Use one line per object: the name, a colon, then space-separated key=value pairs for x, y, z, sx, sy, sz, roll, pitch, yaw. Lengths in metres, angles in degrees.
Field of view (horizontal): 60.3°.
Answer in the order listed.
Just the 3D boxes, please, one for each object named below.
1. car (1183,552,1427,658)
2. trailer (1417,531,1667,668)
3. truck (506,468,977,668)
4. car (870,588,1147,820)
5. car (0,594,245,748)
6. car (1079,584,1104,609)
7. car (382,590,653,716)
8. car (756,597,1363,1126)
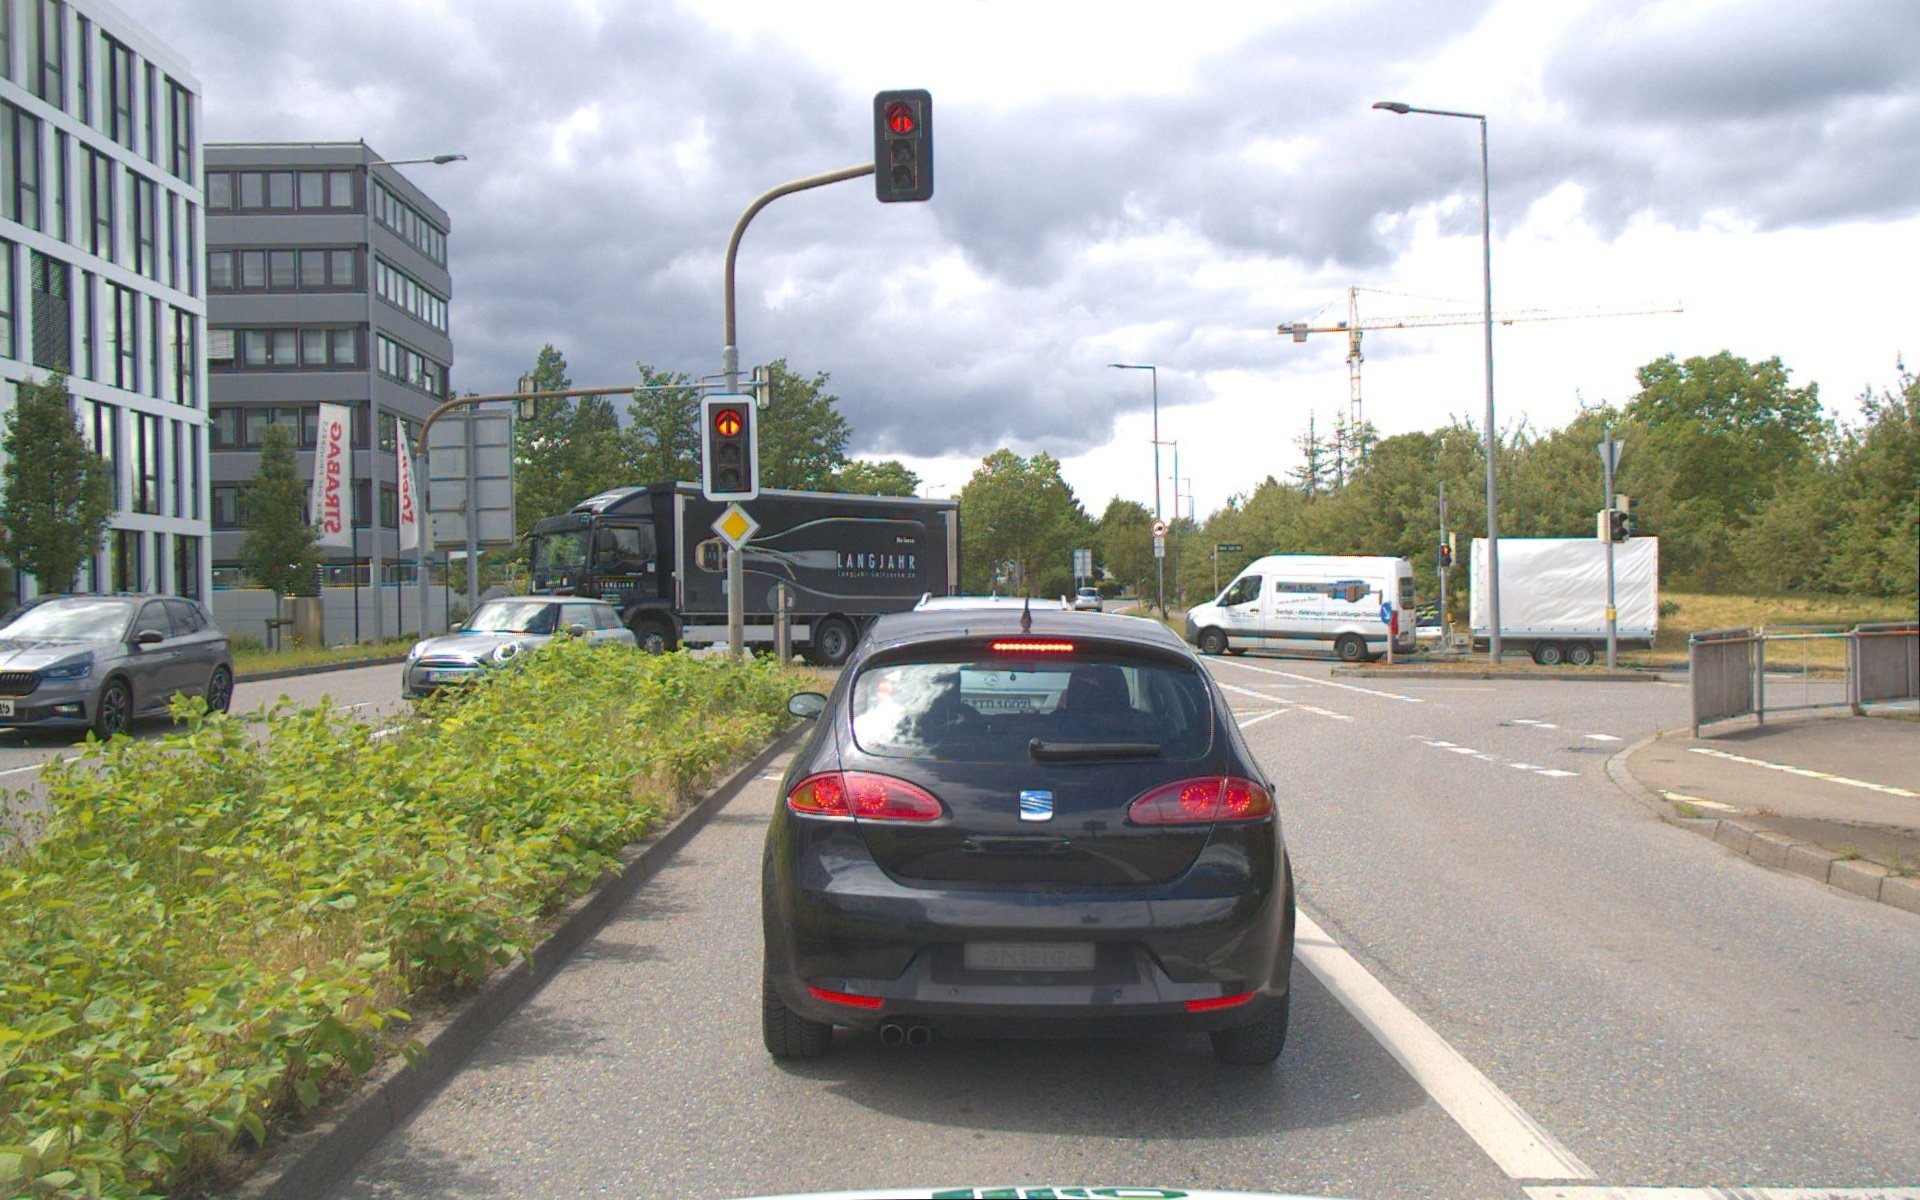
car: x=8.763 y=0.099 z=42.118 sx=5.704 sy=2.562 sz=2.130 roll=1 pitch=0 yaw=28
trailer: x=13.912 y=-0.037 z=39.946 sx=5.450 sy=3.127 sz=2.501 roll=1 pitch=0 yaw=15
truck: x=-4.212 y=-0.554 z=33.961 sx=9.443 sy=3.579 sz=3.130 roll=1 pitch=1 yaw=-42
car: x=0.331 y=0.691 z=12.733 sx=1.797 sy=1.493 sz=3.751 roll=1 pitch=0 yaw=0
car: x=-9.038 y=0.659 z=17.362 sx=1.522 sy=1.407 sz=3.778 roll=0 pitch=1 yaw=-2
car: x=8.893 y=-0.223 z=112.090 sx=1.632 sy=1.624 sz=4.002 roll=1 pitch=0 yaw=5
car: x=-5.531 y=0.611 z=21.135 sx=1.653 sy=1.455 sz=3.637 roll=-1 pitch=0 yaw=17
car: x=0.261 y=0.729 z=6.339 sx=1.676 sy=1.442 sz=3.459 roll=1 pitch=0 yaw=-1
